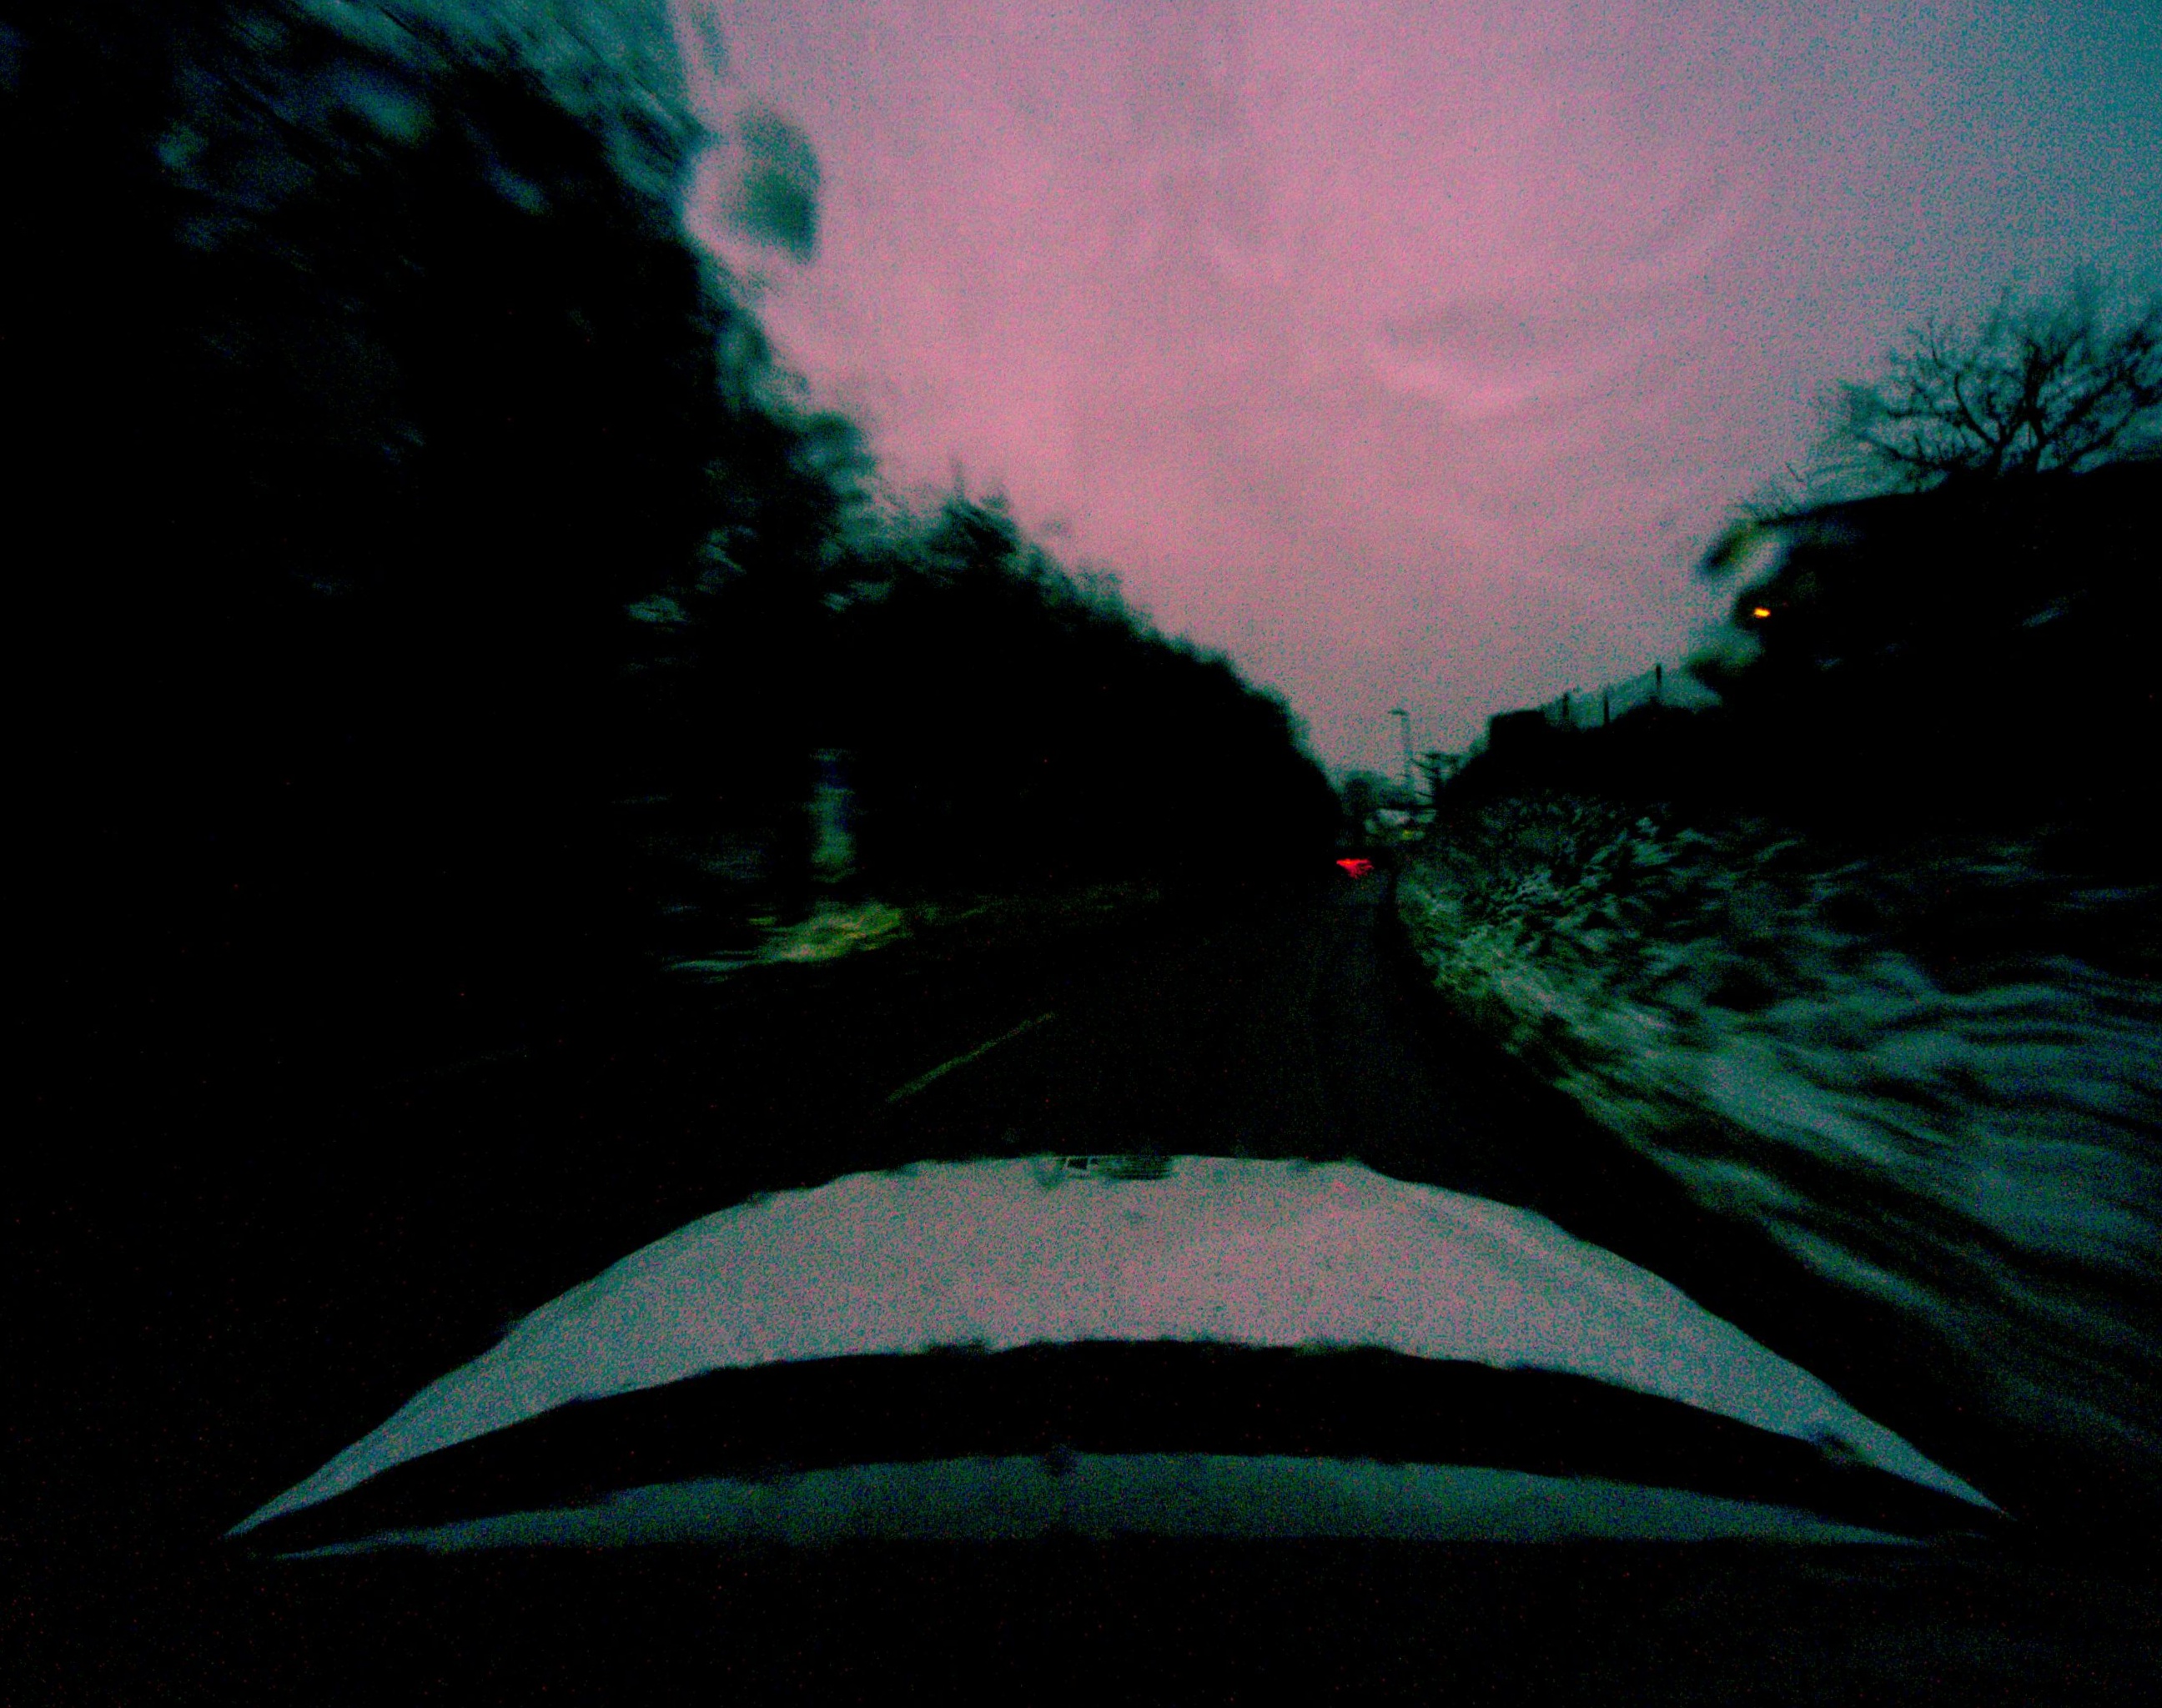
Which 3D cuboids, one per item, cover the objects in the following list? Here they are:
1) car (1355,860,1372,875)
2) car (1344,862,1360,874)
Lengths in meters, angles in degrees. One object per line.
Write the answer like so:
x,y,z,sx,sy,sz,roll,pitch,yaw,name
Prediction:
34.692,1.644,99.976,1.789,1.739,4.020,1,-2,21,car
37.525,1.956,112.675,1.789,1.618,4.020,1,-2,21,car
